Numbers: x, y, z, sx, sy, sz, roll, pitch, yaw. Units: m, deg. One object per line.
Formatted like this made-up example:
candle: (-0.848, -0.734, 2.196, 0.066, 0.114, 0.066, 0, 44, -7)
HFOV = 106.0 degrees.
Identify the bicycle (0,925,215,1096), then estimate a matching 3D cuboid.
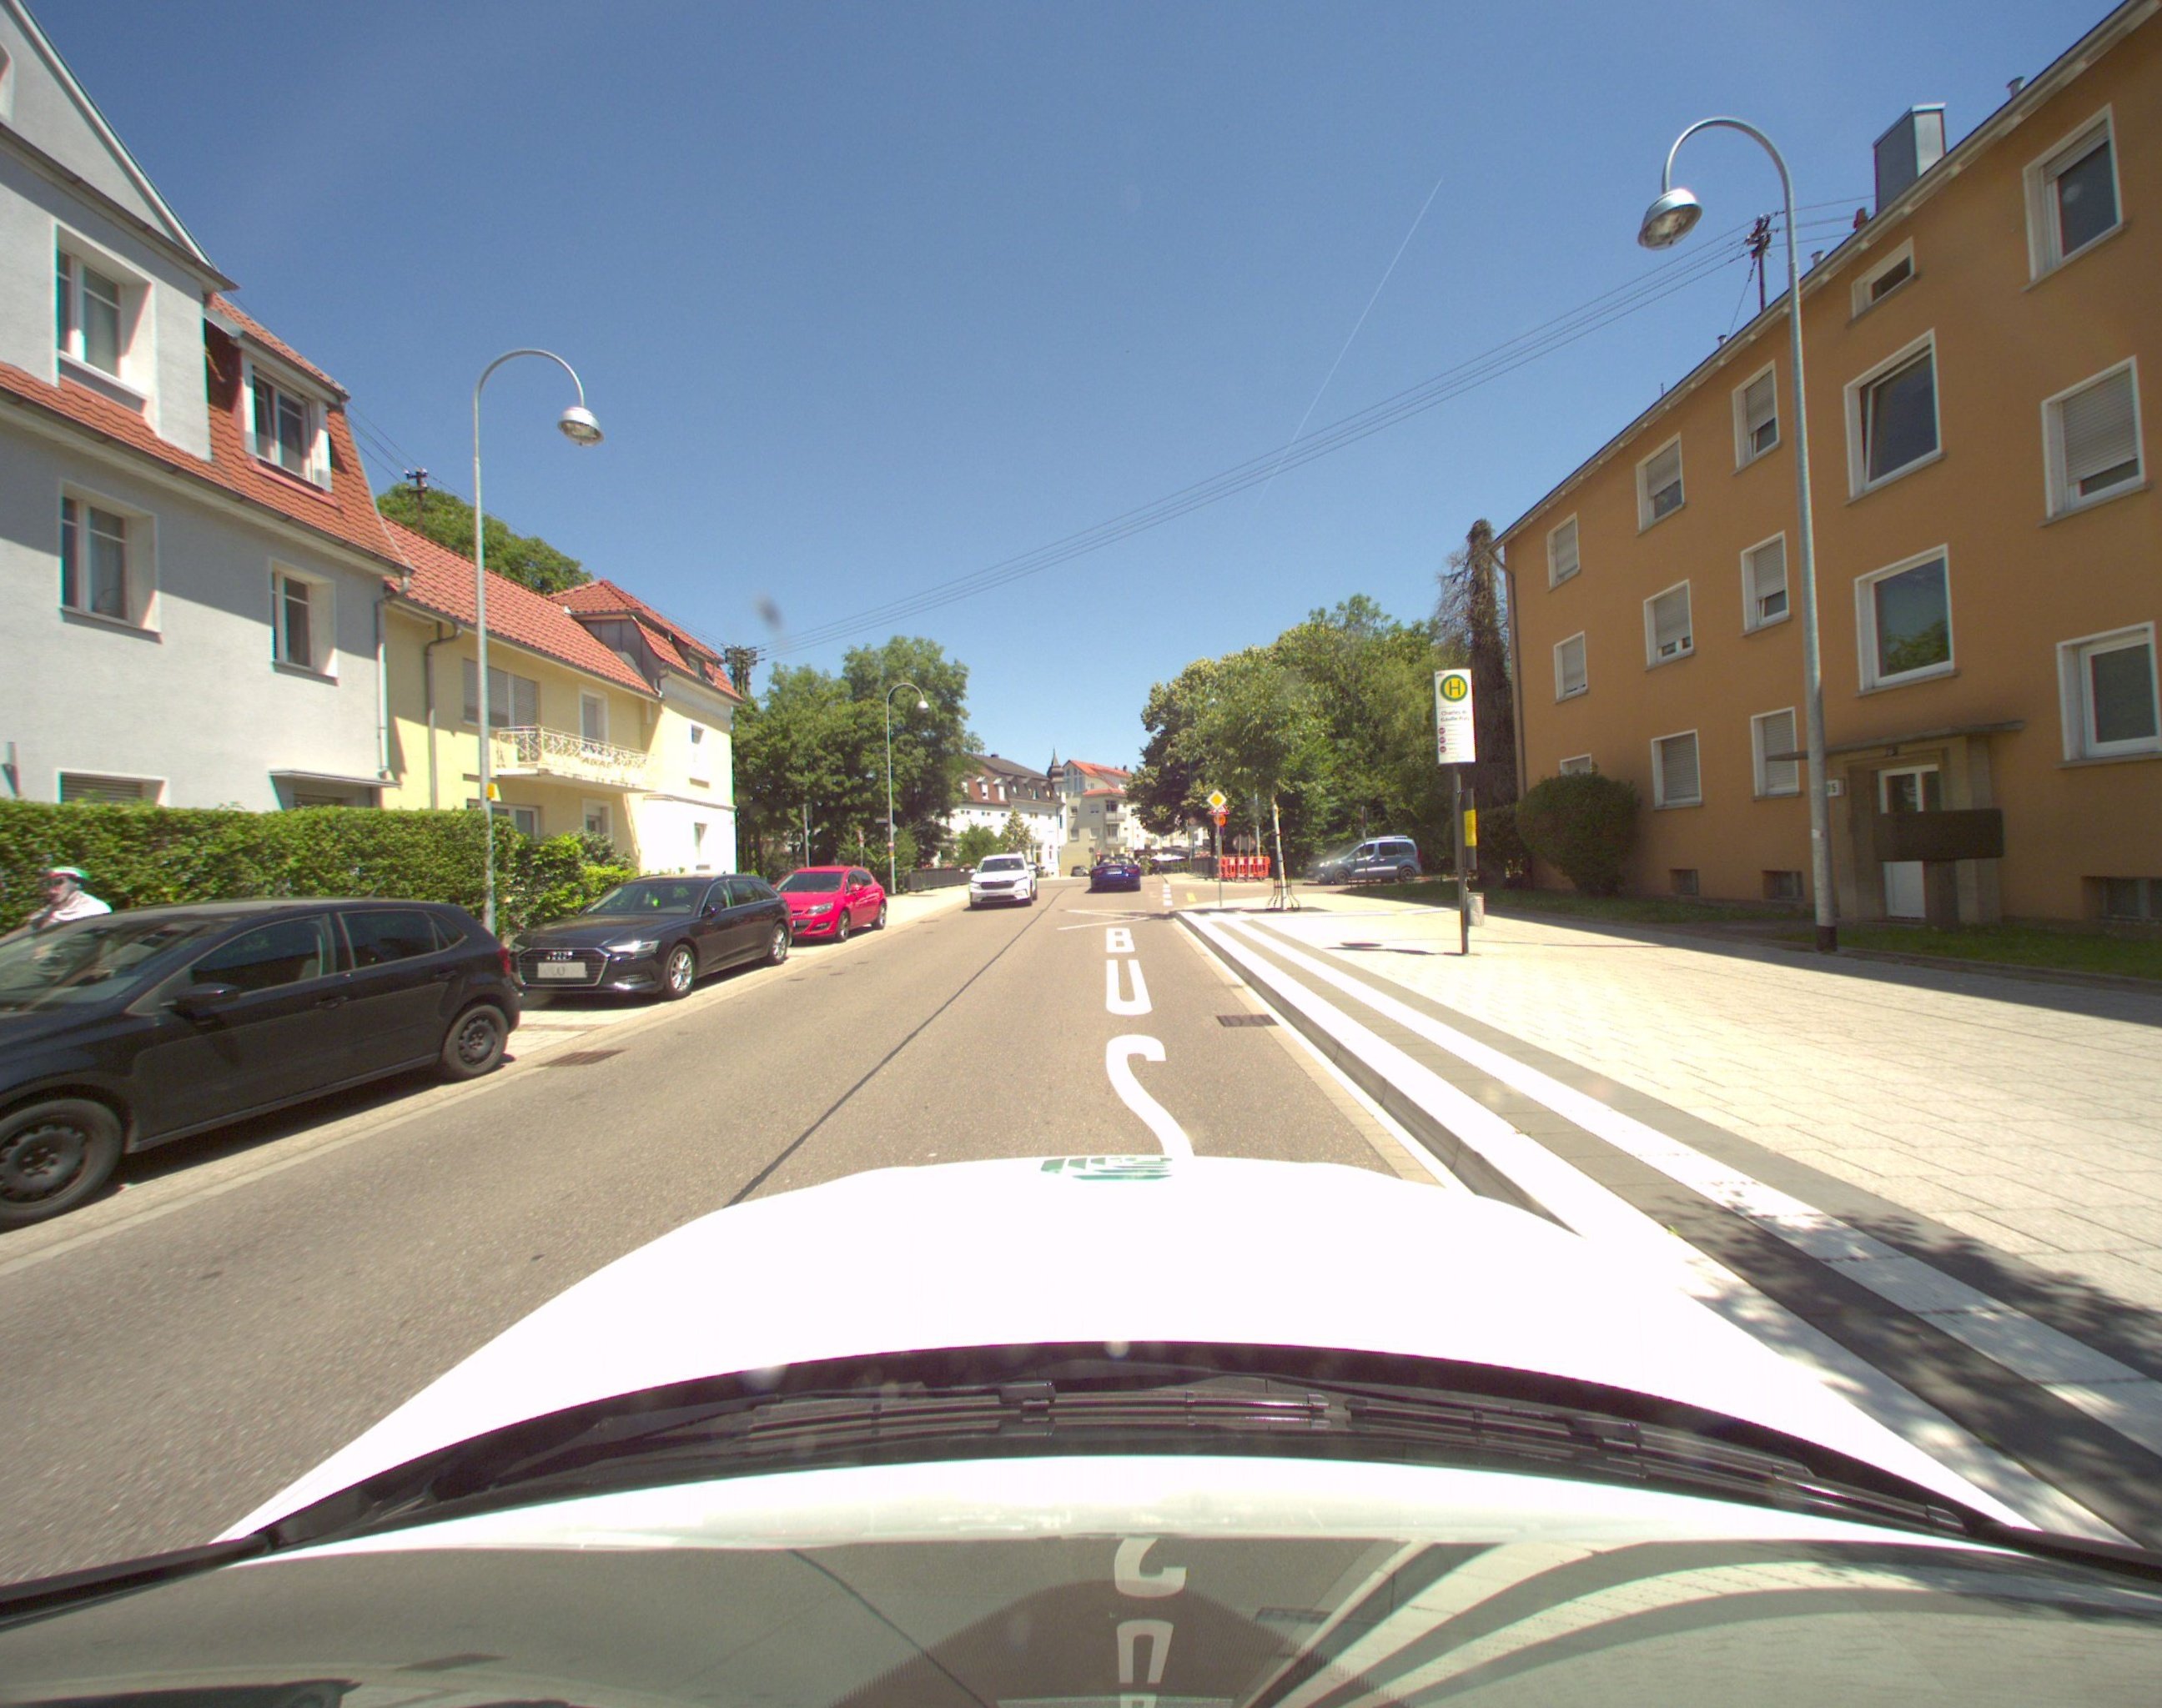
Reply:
bicycle: (-7.896, 1.171, 6.385, 0.554, 1.084, 1.513, -2, 0, 0)

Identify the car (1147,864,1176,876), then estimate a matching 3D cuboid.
car: (10.183, 2.014, 102.699, 1.696, 1.461, 4.155, 0, -1, 39)

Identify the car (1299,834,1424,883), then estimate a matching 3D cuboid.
car: (11.098, 0.196, 32.352, 4.333, 1.839, 1.746, -1, -1, -7)

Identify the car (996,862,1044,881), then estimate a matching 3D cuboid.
car: (-5.902, 1.673, 78.774, 4.142, 1.662, 1.982, -3, -2, 25)

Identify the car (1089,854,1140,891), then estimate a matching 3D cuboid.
car: (1.313, 0.702, 32.176, 1.863, 1.342, 4.598, -1, -1, 2)

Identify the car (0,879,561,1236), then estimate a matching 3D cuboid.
car: (-5.610, 0.974, 5.040, 1.779, 1.459, 4.204, 1, 0, 6)

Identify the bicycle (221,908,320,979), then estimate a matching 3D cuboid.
bicycle: (-11.444, 1.241, 11.540, 0.232, 0.907, 1.163, -2, -2, 0)

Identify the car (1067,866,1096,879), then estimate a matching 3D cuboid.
car: (0.027, 2.396, 104.638, 3.233, 1.458, 1.701, -3, -1, 25)

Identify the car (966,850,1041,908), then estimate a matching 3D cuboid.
car: (-2.374, 0.741, 26.072, 1.871, 1.597, 4.359, -4, 0, 0)

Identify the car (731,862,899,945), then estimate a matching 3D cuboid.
car: (-5.448, 0.944, 17.396, 1.870, 1.479, 4.740, 0, 0, 2)

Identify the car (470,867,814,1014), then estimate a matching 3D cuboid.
car: (-5.625, 0.976, 11.476, 1.856, 1.461, 5.308, 0, 0, 1)

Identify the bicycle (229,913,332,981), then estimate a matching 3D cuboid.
bicycle: (-11.301, 1.299, 11.539, 0.291, 0.854, 1.169, -2, -2, 0)

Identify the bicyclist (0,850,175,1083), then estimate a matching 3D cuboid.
bicyclist: (-7.857, 0.820, 6.266, 0.779, 1.659, 0.835, -3, -1, 0)
